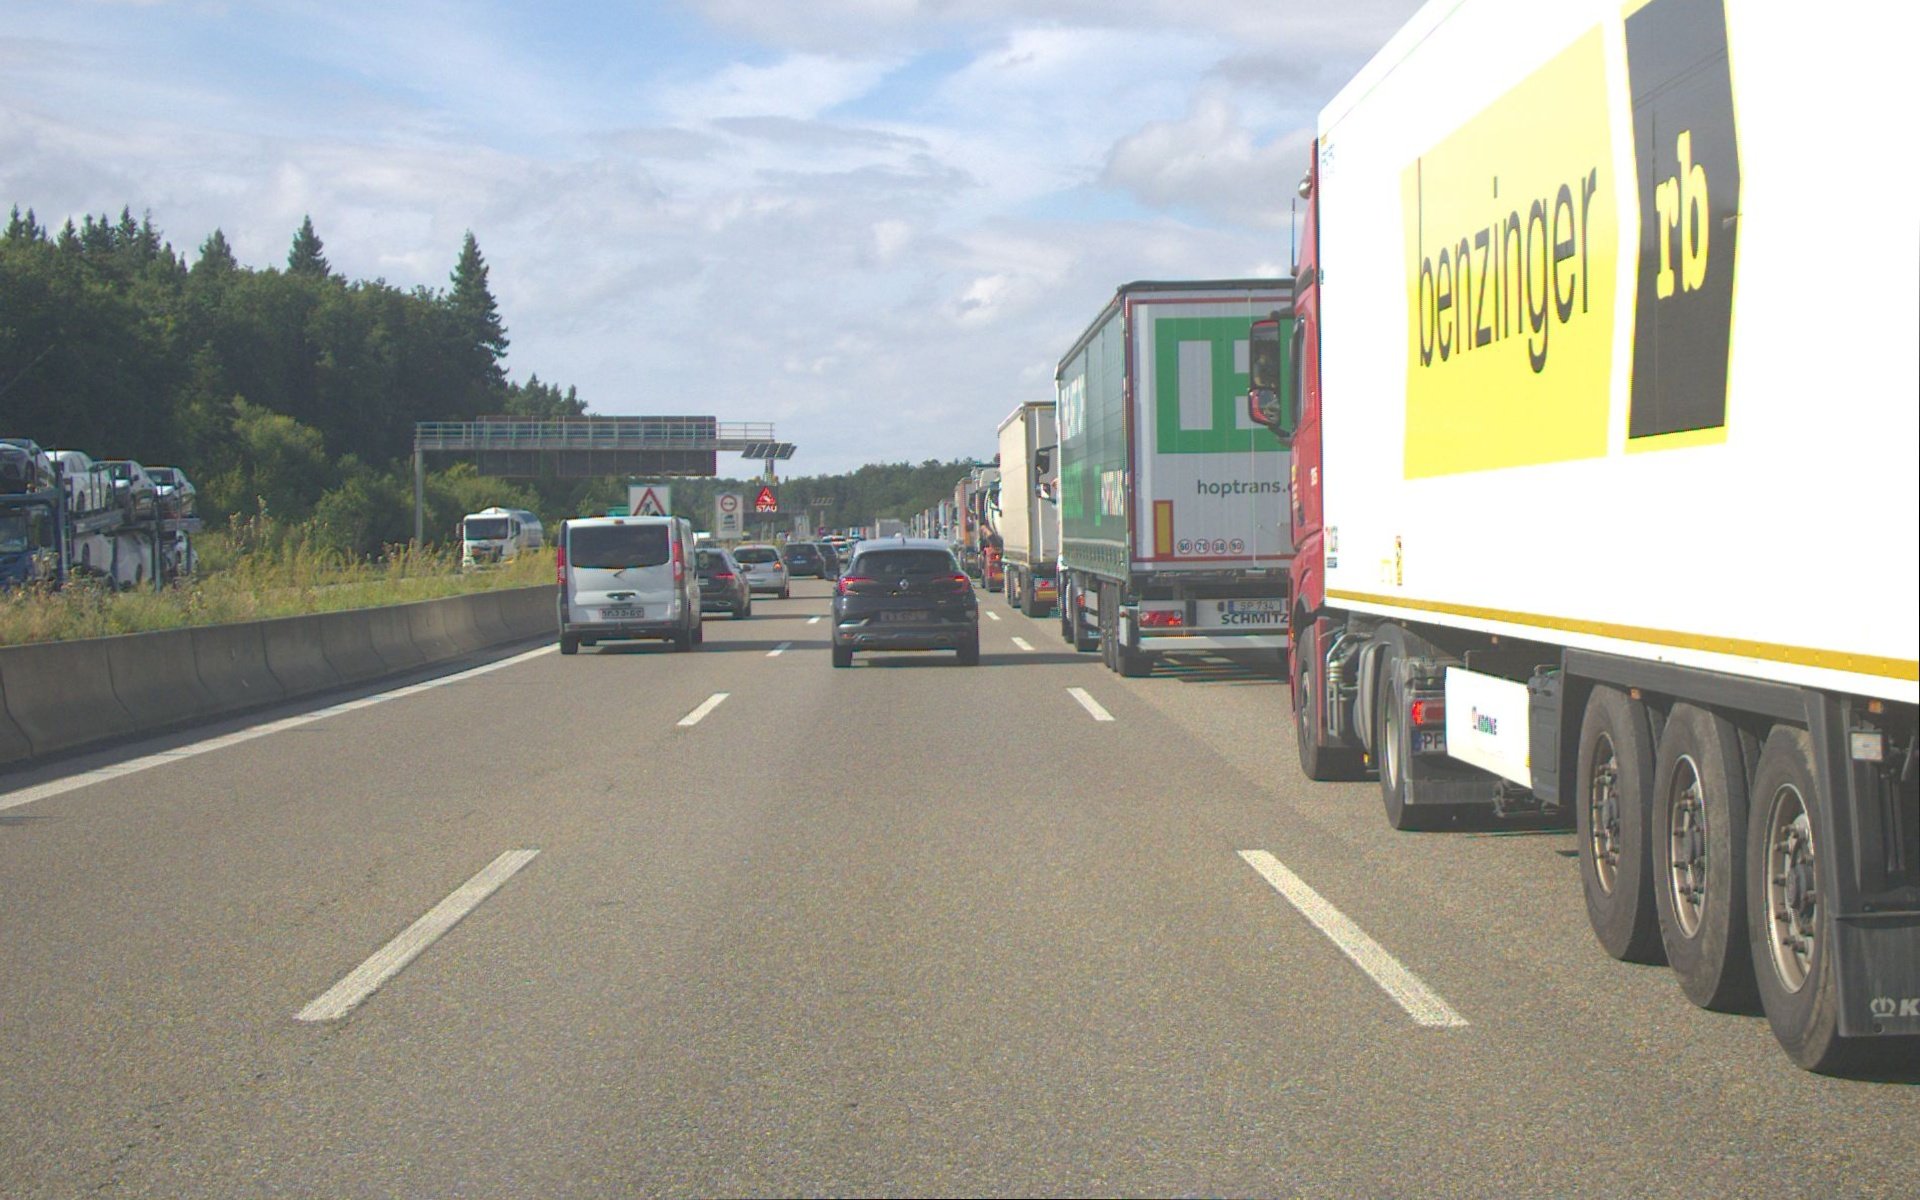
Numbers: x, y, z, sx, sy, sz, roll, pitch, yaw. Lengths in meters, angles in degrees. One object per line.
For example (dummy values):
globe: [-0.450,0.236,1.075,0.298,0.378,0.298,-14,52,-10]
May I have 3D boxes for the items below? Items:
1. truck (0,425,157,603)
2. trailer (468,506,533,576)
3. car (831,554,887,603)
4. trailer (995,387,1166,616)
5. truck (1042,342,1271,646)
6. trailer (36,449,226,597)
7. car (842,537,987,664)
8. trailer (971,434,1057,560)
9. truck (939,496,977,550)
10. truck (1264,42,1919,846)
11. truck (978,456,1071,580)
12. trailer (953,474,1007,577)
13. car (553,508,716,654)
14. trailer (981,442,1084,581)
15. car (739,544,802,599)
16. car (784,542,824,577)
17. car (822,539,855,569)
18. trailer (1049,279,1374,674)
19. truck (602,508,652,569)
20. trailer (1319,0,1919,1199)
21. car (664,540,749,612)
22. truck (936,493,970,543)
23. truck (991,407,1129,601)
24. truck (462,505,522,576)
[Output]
truck: [-20.556,-1.834,76.680,2.831,3.676,11.133,-1,1,-1]
trailer: [-22.172,-2.857,166.283,2.321,3.273,10.877,-1,1,-3]
car: [-2.983,-0.658,102.385,1.581,1.391,3.208,2,1,-1]
trailer: [2.239,-1.904,68.449,2.703,4.068,12.945,-1,1,-1]
truck: [2.590,-1.397,47.373,2.647,3.855,6.996,-1,1,-1]
trailer: [-20.793,-1.904,86.725,2.798,3.516,8.955,-1,1,-2]
car: [-0.571,-0.018,42.681,1.696,1.478,4.160,1,1,-1]
trailer: [1.852,-3.593,122.662,2.802,4.229,11.057,-1,1,0]
truck: [-0.096,-4.310,193.687,1.993,2.922,4.982,2,1,0]
truck: [3.421,-0.800,19.776,2.802,3.925,5.826,0,1,0]
truck: [1.898,-2.425,103.295,2.533,3.571,6.730,-1,1,-1]
trailer: [0.807,-3.119,145.600,2.150,4.244,8.440,-1,1,0]
car: [-4.769,-0.302,51.023,1.933,1.972,5.099,2,1,-1]
trailer: [1.976,-2.427,96.886,2.541,3.641,10.627,-1,1,0]
car: [-5.065,-0.769,92.197,1.500,1.391,3.476,2,1,-1]
car: [-6.153,-1.601,136.052,1.434,1.305,3.534,2,1,-1]
car: [-5.515,-2.077,156.286,1.434,1.305,3.534,2,1,-1]
trailer: [2.646,-1.304,40.466,2.661,3.855,13.395,-1,1,-1]
truck: [-23.680,-4.370,244.754,2.711,4.229,10.345,-1,1,-1]
trailer: [3.448,-0.710,12.913,2.791,3.925,13.070,0,1,0]
car: [-5.112,-0.496,69.665,1.500,1.391,3.476,1,1,-1]
truck: [-0.448,-5.247,220.941,1.993,3.042,4.982,2,1,0]
truck: [2.144,-2.065,75.940,2.708,4.046,6.362,-1,1,-1]
truck: [-21.853,-2.776,160.685,2.317,3.262,6.106,-1,1,-3]
